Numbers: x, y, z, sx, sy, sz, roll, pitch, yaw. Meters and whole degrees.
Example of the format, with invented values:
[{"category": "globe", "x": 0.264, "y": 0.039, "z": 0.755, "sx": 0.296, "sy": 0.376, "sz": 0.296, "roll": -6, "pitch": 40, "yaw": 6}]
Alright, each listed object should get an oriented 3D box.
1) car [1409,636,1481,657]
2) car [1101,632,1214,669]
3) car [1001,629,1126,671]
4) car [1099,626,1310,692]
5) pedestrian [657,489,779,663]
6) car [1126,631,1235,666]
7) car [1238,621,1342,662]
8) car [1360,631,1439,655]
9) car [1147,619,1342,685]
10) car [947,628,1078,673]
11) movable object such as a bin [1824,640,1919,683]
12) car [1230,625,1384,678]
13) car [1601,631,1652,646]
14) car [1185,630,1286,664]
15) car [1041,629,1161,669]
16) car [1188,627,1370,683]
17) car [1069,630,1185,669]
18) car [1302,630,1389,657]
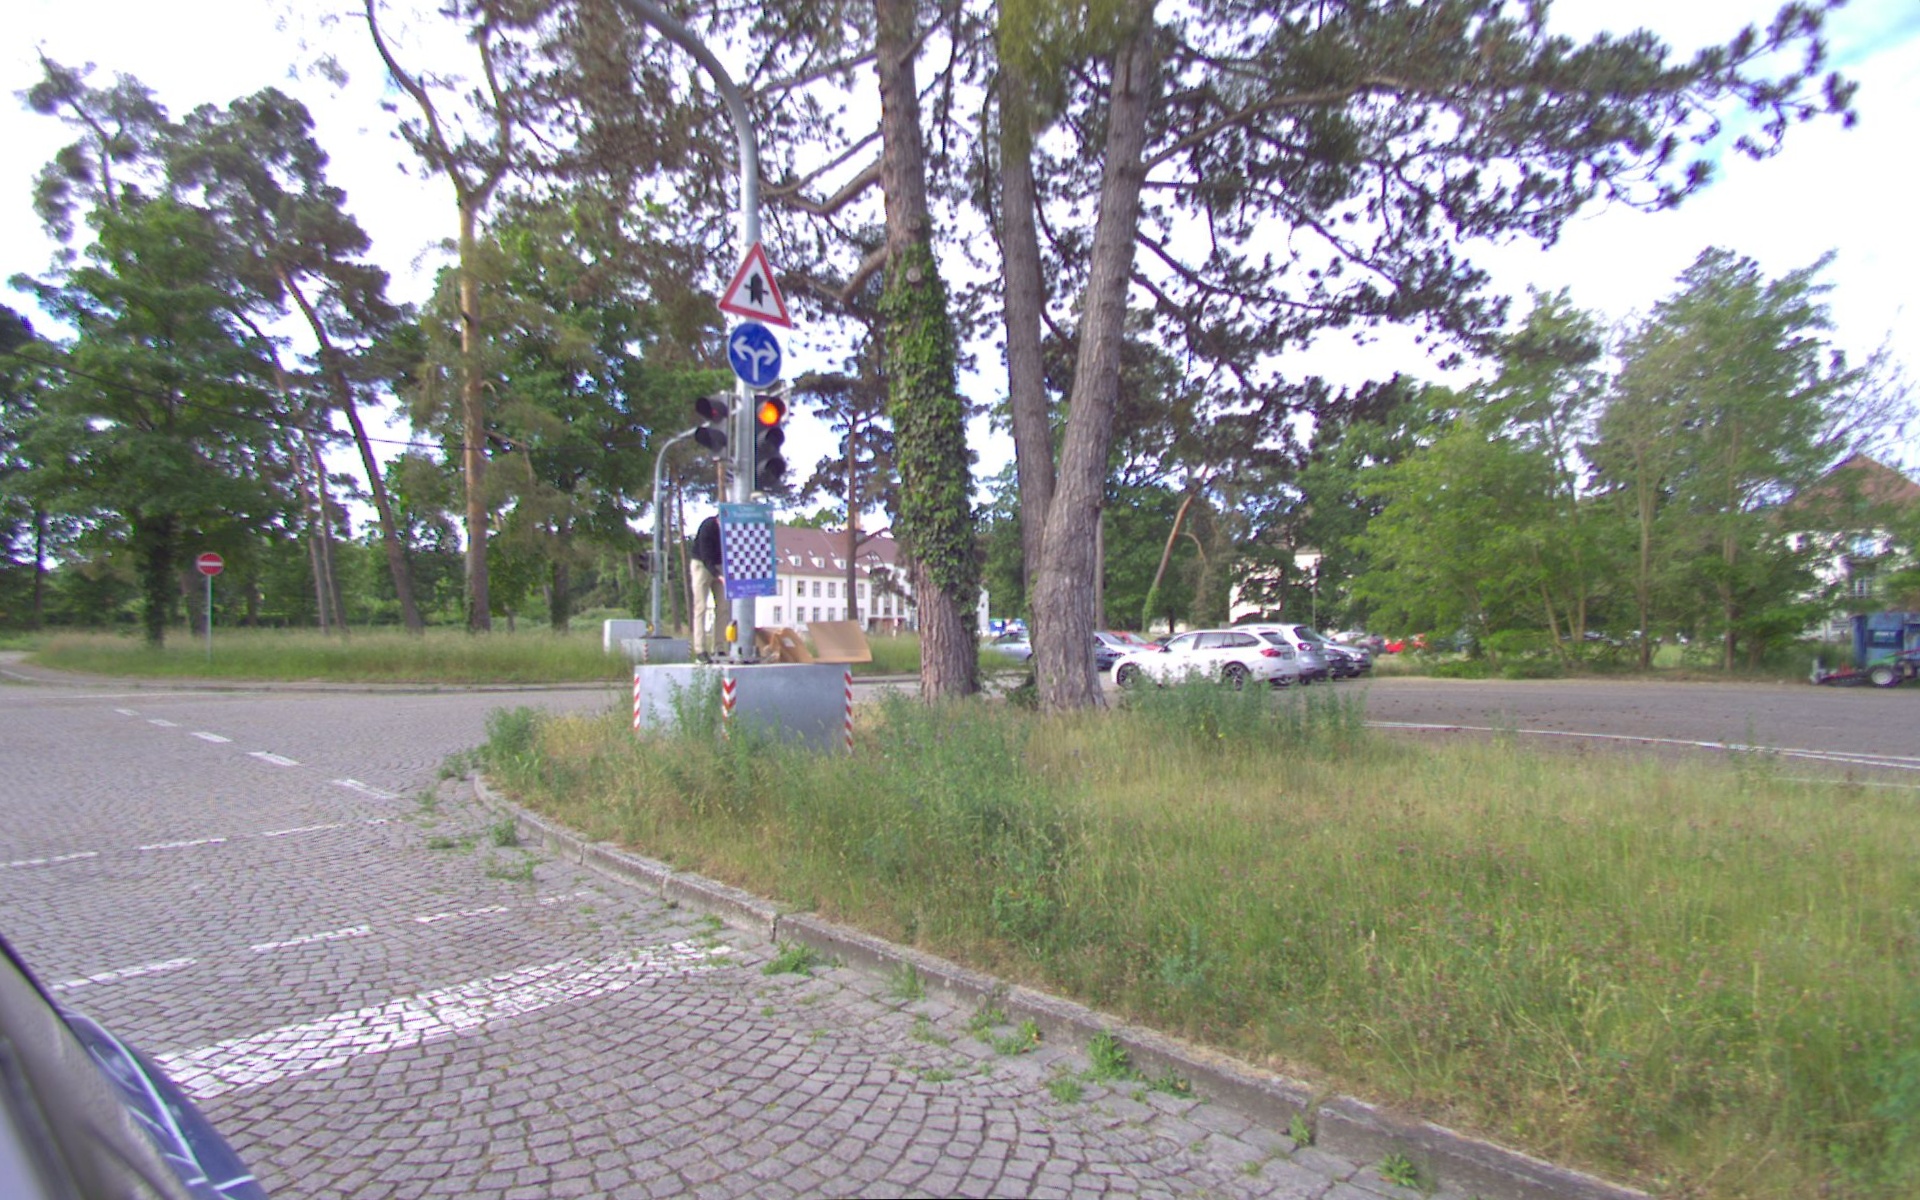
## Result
[{"category": "car", "x": 36.743, "y": 3.525, "z": 76.716, "sx": 4.580, "sy": 1.533, "sz": 1.817, "roll": -3, "pitch": -4, "yaw": 39}, {"category": "car", "x": 8.698, "y": 2.259, "z": 44.756, "sx": 4.580, "sy": 1.533, "sz": 1.817, "roll": -3, "pitch": -4, "yaw": 39}, {"category": "car", "x": 3.970, "y": 1.953, "z": 39.203, "sx": 4.580, "sy": 1.533, "sz": 1.817, "roll": -3, "pitch": -4, "yaw": 39}, {"category": "car", "x": 5.866, "y": 1.435, "z": 24.610, "sx": 4.650, "sy": 1.461, "sz": 1.817, "roll": -3, "pitch": -4, "yaw": 39}, {"category": "pedestrian", "x": -2.265, "y": -0.194, "z": 9.463, "sx": 0.869, "sy": 1.529, "sz": 0.824, "roll": 1, "pitch": -2, "yaw": -34}, {"category": "car", "x": 10.168, "y": 2.265, "z": 46.914, "sx": 4.580, "sy": 1.533, "sz": 1.817, "roll": -3, "pitch": -4, "yaw": 39}, {"category": "car", "x": 17.811, "y": 2.270, "z": 54.792, "sx": 4.979, "sy": 2.113, "sz": 1.816, "roll": -4, "pitch": -4, "yaw": 41}, {"category": "car", "x": 30.061, "y": 2.981, "z": 69.246, "sx": 4.580, "sy": 1.533, "sz": 1.817, "roll": -3, "pitch": -4, "yaw": 39}, {"category": "car", "x": 7.425, "y": 1.393, "z": 26.675, "sx": 4.580, "sy": 1.590, "sz": 1.817, "roll": -3, "pitch": -4, "yaw": 39}, {"category": "car", "x": 1.900, "y": 1.884, "z": 37.449, "sx": 4.572, "sy": 1.559, "sz": 1.820, "roll": -3, "pitch": -3, "yaw": 34}, {"category": "movable object such as a bin", "x": 21.027, "y": 1.392, "z": 23.059, "sx": 1.931, "sy": 0.940, "sz": 1.029, "roll": -1, "pitch": -3, "yaw": 35}, {"category": "car", "x": 10.574, "y": 1.594, "z": 31.002, "sx": 4.112, "sy": 1.533, "sz": 1.714, "roll": -4, "pitch": -4, "yaw": 42}, {"category": "car", "x": 74.576, "y": 4.245, "z": 113.292, "sx": 4.580, "sy": 1.645, "sz": 1.817, "roll": -1, "pitch": -2, "yaw": 39}, {"category": "car", "x": 13.908, "y": 2.381, "z": 51.197, "sx": 4.580, "sy": 1.586, "sz": 1.817, "roll": -3, "pitch": -4, "yaw": 39}, {"category": "car", "x": 5.690, "y": 2.015, "z": 41.195, "sx": 4.580, "sy": 1.533, "sz": 1.817, "roll": -3, "pitch": -4, "yaw": 39}, {"category": "car", "x": 8.989, "y": 1.562, "z": 28.780, "sx": 4.583, "sy": 1.480, "sz": 1.815, "roll": -3, "pitch": -4, "yaw": 42}, {"category": "car", "x": 7.069, "y": 2.131, "z": 43.130, "sx": 4.580, "sy": 1.571, "sz": 1.817, "roll": -3, "pitch": -4, "yaw": 39}, {"category": "car", "x": 23.409, "y": 2.681, "z": 61.599, "sx": 4.580, "sy": 1.533, "sz": 1.817, "roll": -3, "pitch": -4, "yaw": 39}]
